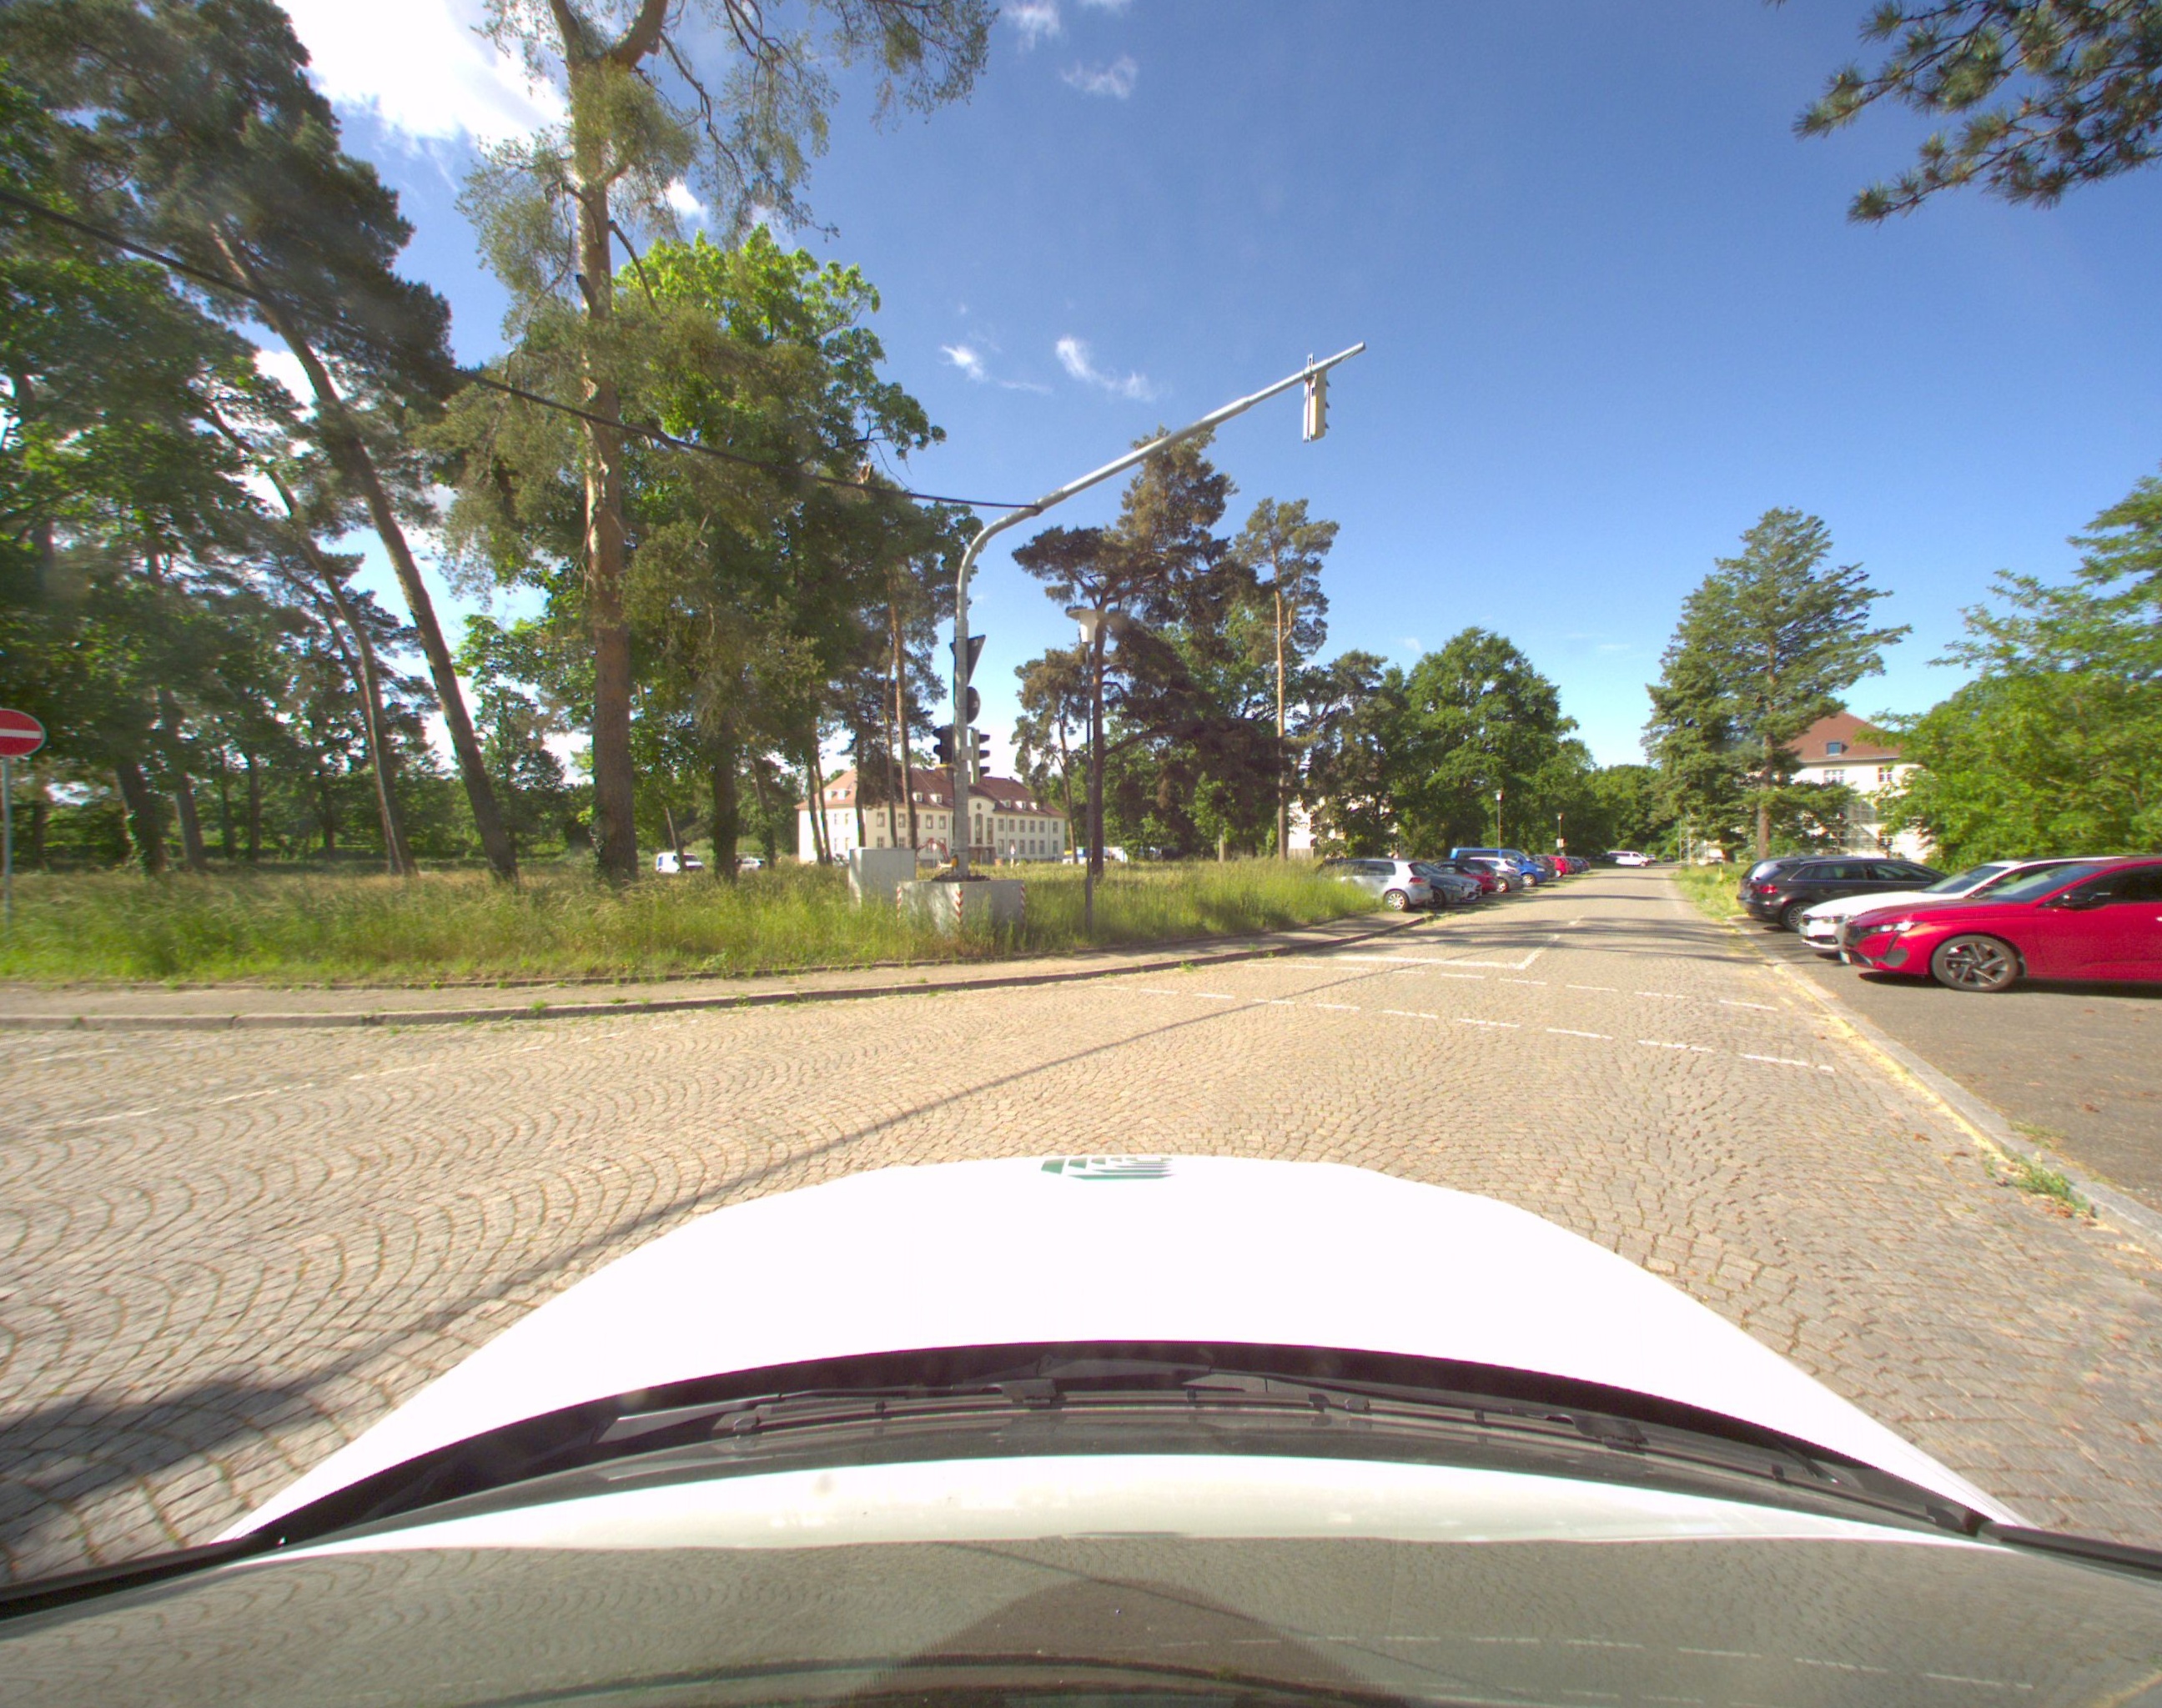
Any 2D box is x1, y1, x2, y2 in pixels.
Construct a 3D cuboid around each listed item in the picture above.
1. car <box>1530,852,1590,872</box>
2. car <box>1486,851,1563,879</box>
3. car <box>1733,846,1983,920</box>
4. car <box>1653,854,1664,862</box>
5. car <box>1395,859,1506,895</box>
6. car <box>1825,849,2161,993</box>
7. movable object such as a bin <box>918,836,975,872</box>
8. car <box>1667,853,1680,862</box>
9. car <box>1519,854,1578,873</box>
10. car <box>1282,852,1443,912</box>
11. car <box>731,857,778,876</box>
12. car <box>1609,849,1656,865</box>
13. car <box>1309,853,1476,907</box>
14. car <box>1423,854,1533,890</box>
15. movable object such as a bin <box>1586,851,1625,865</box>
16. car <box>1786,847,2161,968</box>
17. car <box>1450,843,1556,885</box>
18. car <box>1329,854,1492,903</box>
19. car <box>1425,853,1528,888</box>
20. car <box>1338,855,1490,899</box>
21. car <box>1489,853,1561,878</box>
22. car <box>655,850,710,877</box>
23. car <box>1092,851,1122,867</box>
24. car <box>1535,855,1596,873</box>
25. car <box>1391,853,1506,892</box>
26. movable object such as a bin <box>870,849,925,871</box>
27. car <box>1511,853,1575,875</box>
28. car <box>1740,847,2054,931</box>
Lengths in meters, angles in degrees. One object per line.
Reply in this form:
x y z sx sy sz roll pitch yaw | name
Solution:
39.350 0.638 66.967 4.095 1.579 1.896 1 1 36 | car
27.274 0.662 50.105 3.915 1.567 1.986 2 2 34 | car
17.022 0.667 18.123 3.703 1.476 1.763 -4 -2 34 | car
114.379 0.731 161.230 1.794 1.579 4.161 -1 -1 35 | car
14.212 0.870 31.396 3.595 1.234 1.771 1 0 37 | car
11.316 0.670 8.854 4.492 1.421 1.906 -3 -2 35 | car
-14.615 0.002 89.070 3.892 3.731 6.813 -1 -1 12 | movable object such as a bin
116.487 0.661 160.085 1.952 1.668 4.112 -1 -1 35 | car
37.483 0.709 65.339 3.885 1.433 1.854 1 1 37 | car
8.061 0.741 23.431 3.988 1.483 1.961 1 1 34 | car
-28.592 1.068 71.321 4.187 1.605 1.925 -1 -1 37 | car
73.615 0.398 108.722 5.184 2.016 1.962 0 0 35 | car
9.718 0.753 25.488 4.537 1.452 1.997 1 0 32 | car
17.479 0.739 35.935 4.037 1.425 1.935 1 1 37 | car
64.006 0.497 99.398 2.033 1.745 3.538 0 -1 -36 | movable object such as a bin
12.860 0.703 11.230 4.468 1.465 1.850 -3 -2 33 | car
22.112 0.485 42.709 4.672 1.968 2.018 2 1 36 | car
11.191 0.782 27.799 4.818 1.421 1.950 1 0 36 | car
18.725 0.729 38.611 4.156 1.475 1.835 1 1 36 | car
12.207 0.783 29.973 4.818 1.421 1.951 1 1 36 | car
28.630 0.724 52.515 3.885 1.449 1.878 2 1 34 | car
-32.224 0.771 65.833 4.799 2.164 1.969 -1 -1 37 | car
4.124 0.773 125.895 1.965 2.437 5.310 -1 -1 36 | car
42.121 0.818 70.779 4.318 1.445 1.933 1 1 38 | car
15.279 0.739 33.939 4.037 1.452 1.833 1 0 37 | car
-20.223 0.687 90.068 5.659 2.331 2.521 0 -1 -9 | movable object such as a bin
33.237 0.716 58.620 3.885 1.461 1.854 1 1 34 | car
15.489 0.702 15.824 3.965 1.441 1.856 -4 -2 34 | car
